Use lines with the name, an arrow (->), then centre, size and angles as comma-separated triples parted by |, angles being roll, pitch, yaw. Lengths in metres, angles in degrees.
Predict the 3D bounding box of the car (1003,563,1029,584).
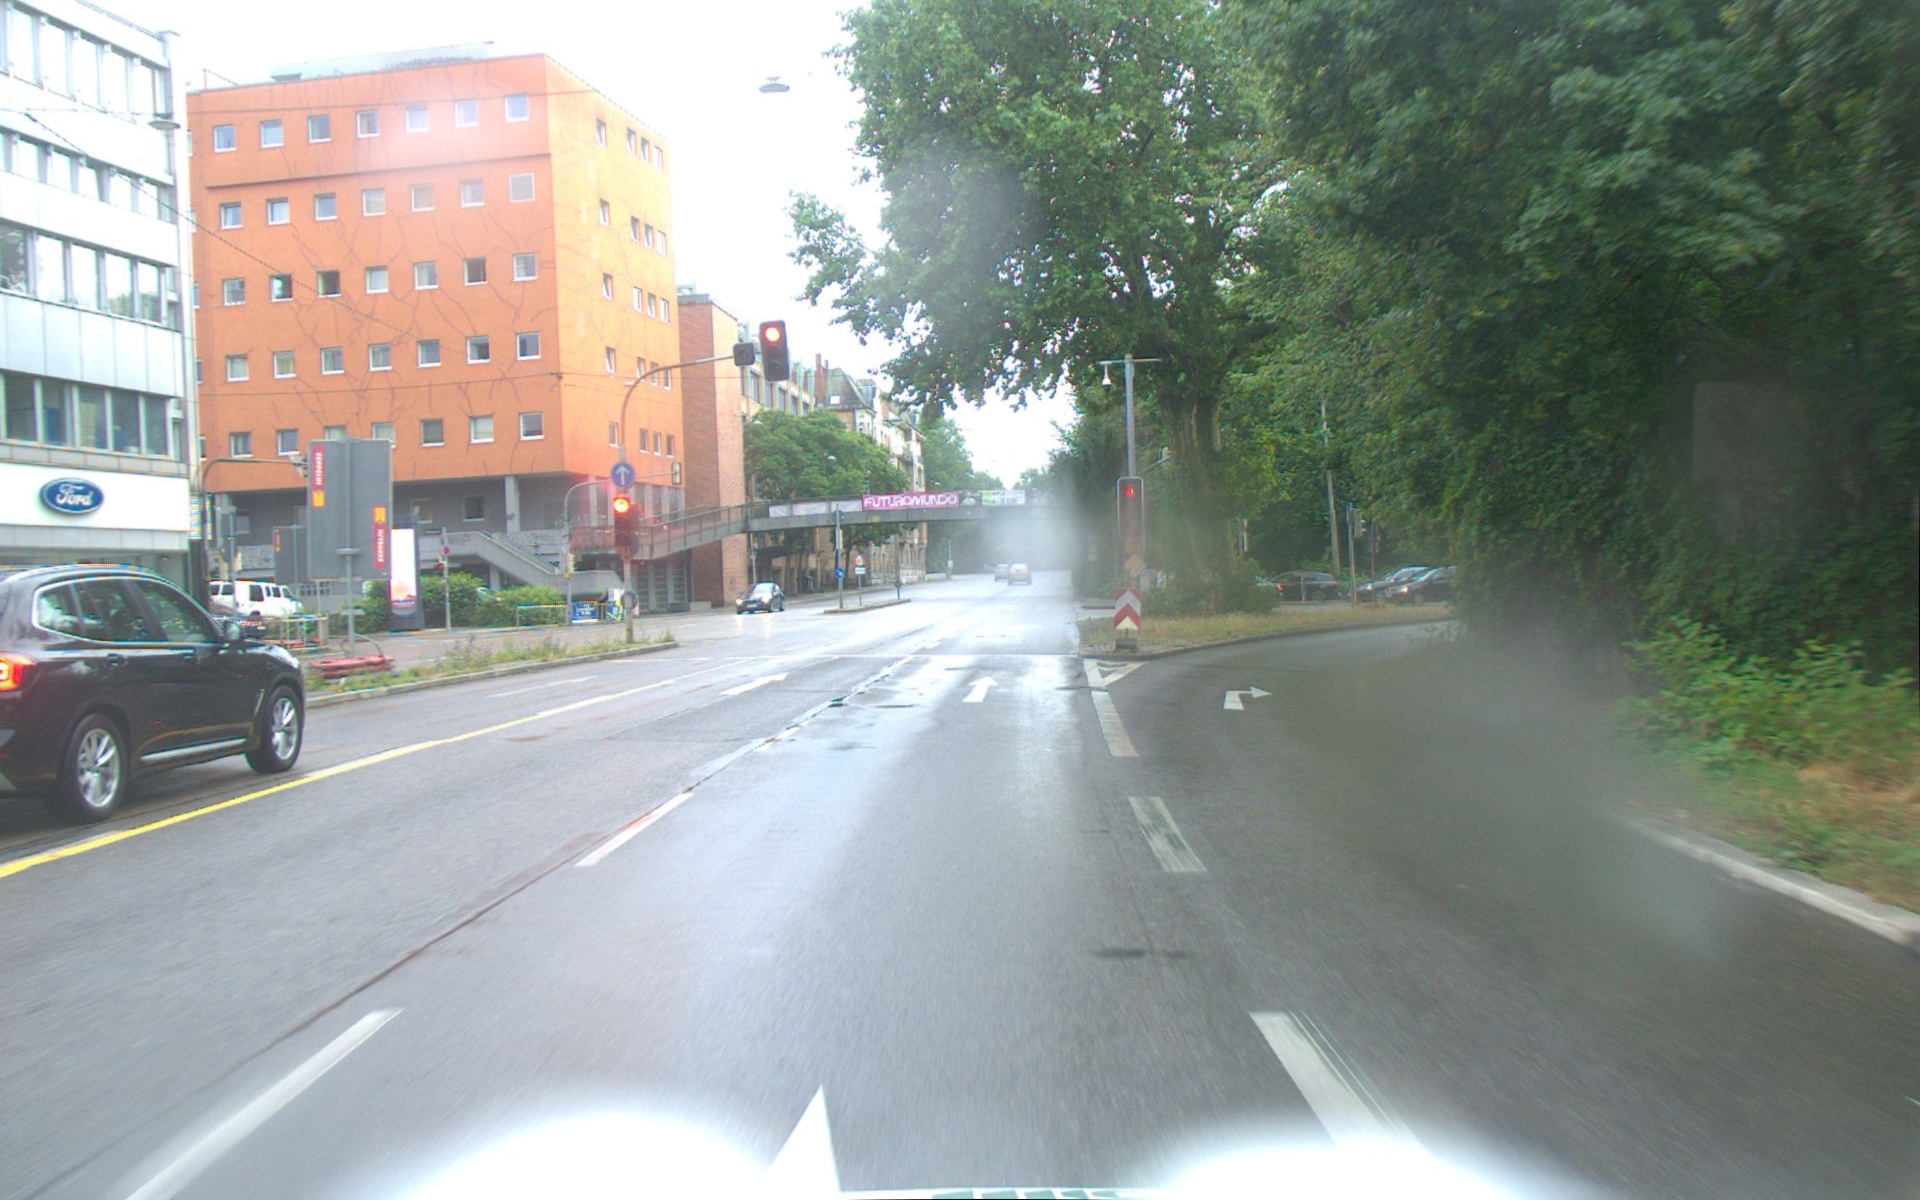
car -> 4.772, -2.288, 141.587 | 2.077, 1.765, 4.199 | 0, 2, 0

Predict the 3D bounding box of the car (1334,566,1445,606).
car -> 17.298, -0.574, 66.602 | 3.924, 1.512, 1.870 | -2, 0, -17

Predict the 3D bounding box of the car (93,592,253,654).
car -> -28.687, 0.816, 60.346 | 4.968, 1.878, 2.002 | -4, -1, 11

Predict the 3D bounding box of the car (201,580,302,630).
car -> -31.069, 0.193, 72.710 | 1.951, 2.048, 4.855 | 2, 1, 5

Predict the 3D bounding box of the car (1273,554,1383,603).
car -> 16.433, -0.956, 73.986 | 4.258, 1.867, 2.132 | -4, 0, -8

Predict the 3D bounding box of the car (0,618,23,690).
car -> -26.259, 1.501, 41.085 | 4.667, 1.768, 1.997 | -4, 0, -7

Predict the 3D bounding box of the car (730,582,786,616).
car -> -9.785, -0.058, 80.381 | 1.952, 1.545, 4.002 | -2, 0, 3

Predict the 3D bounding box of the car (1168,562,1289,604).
car -> 10.855, -0.690, 67.085 | 4.513, 1.476, 1.772 | -2, 0, -5

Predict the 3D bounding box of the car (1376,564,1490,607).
car -> 17.874, -0.546, 62.567 | 3.787, 1.511, 1.667 | -2, 0, -12

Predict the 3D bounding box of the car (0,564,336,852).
car -> -6.342, 0.581, 11.873 | 1.907, 1.625, 4.671 | 0, 2, 0

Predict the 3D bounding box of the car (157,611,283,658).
car -> -27.882, 1.280, 62.336 | 4.047, 1.471, 1.587 | -4, 0, 10

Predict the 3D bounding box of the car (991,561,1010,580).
car -> 4.108, -2.999, 167.486 | 1.727, 1.726, 3.707 | -4, 0, 3
